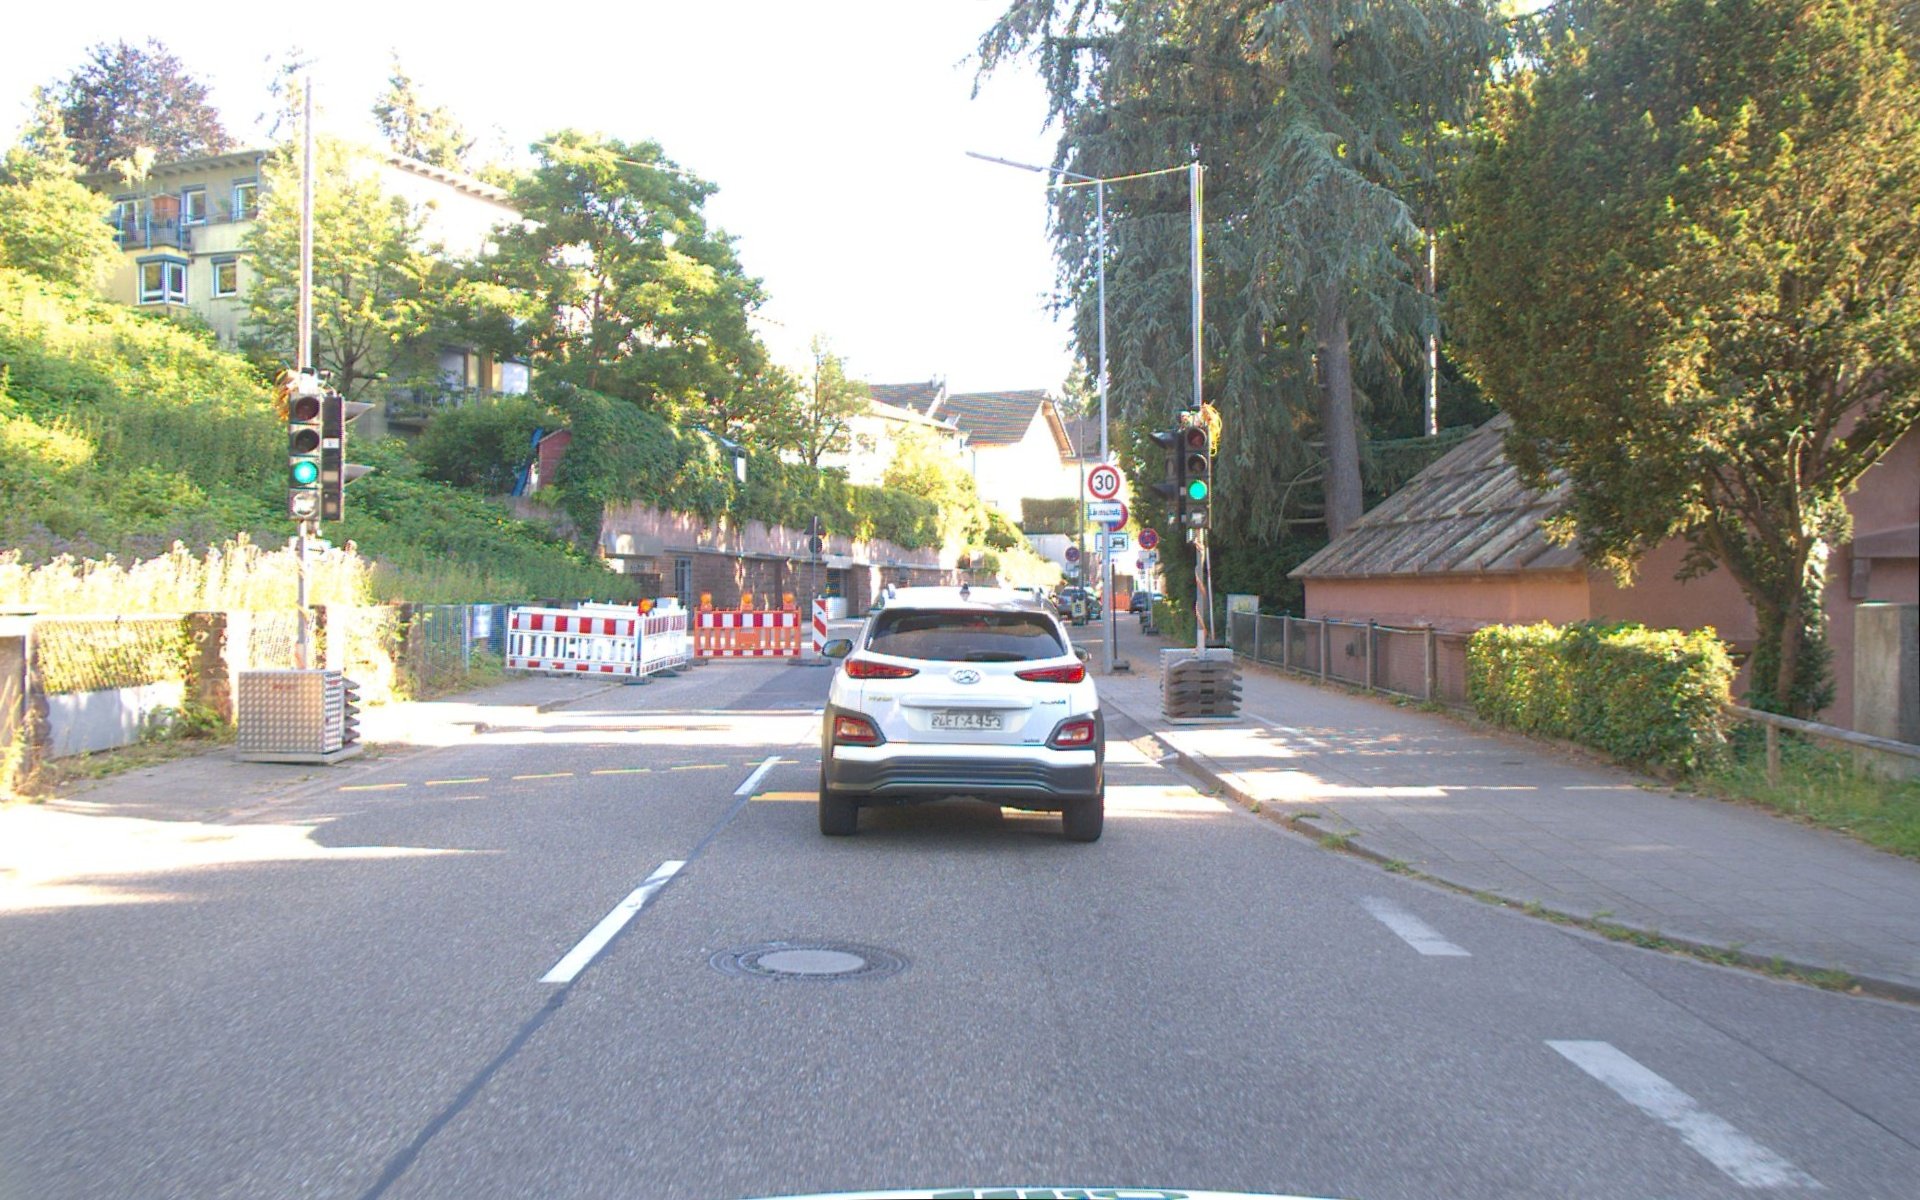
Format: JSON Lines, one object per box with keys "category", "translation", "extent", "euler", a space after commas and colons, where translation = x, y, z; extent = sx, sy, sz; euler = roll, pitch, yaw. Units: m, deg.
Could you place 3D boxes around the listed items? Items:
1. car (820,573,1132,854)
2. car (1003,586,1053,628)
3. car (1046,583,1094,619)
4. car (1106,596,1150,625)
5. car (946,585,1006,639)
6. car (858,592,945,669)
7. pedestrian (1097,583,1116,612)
{"category": "car", "translation": [-0.067, 0.649, 11.690], "extent": [1.785, 1.601, 3.996], "euler": [2, 1, -5]}
{"category": "car", "translation": [2.897, 0.278, 69.822], "extent": [1.793, 1.691, 4.003], "euler": [2, 0, 7]}
{"category": "car", "translation": [5.599, 0.067, 83.762], "extent": [1.792, 1.771, 4.003], "euler": [0, 0, 13]}
{"category": "car", "translation": [10.219, 0.639, 100.275], "extent": [1.793, 1.691, 4.002], "euler": [2, 0, 18]}
{"category": "car", "translation": [0.480, 0.333, 51.852], "extent": [1.769, 1.564, 4.000], "euler": [2, 0, 0]}
{"category": "car", "translation": [-1.200, 0.597, 35.134], "extent": [1.673, 1.459, 4.364], "euler": [2, 0, -1]}
{"category": "pedestrian", "translation": [9.715, -0.161, 109.768], "extent": [1.057, 1.945, 0.841], "euler": [1, 0, 16]}
